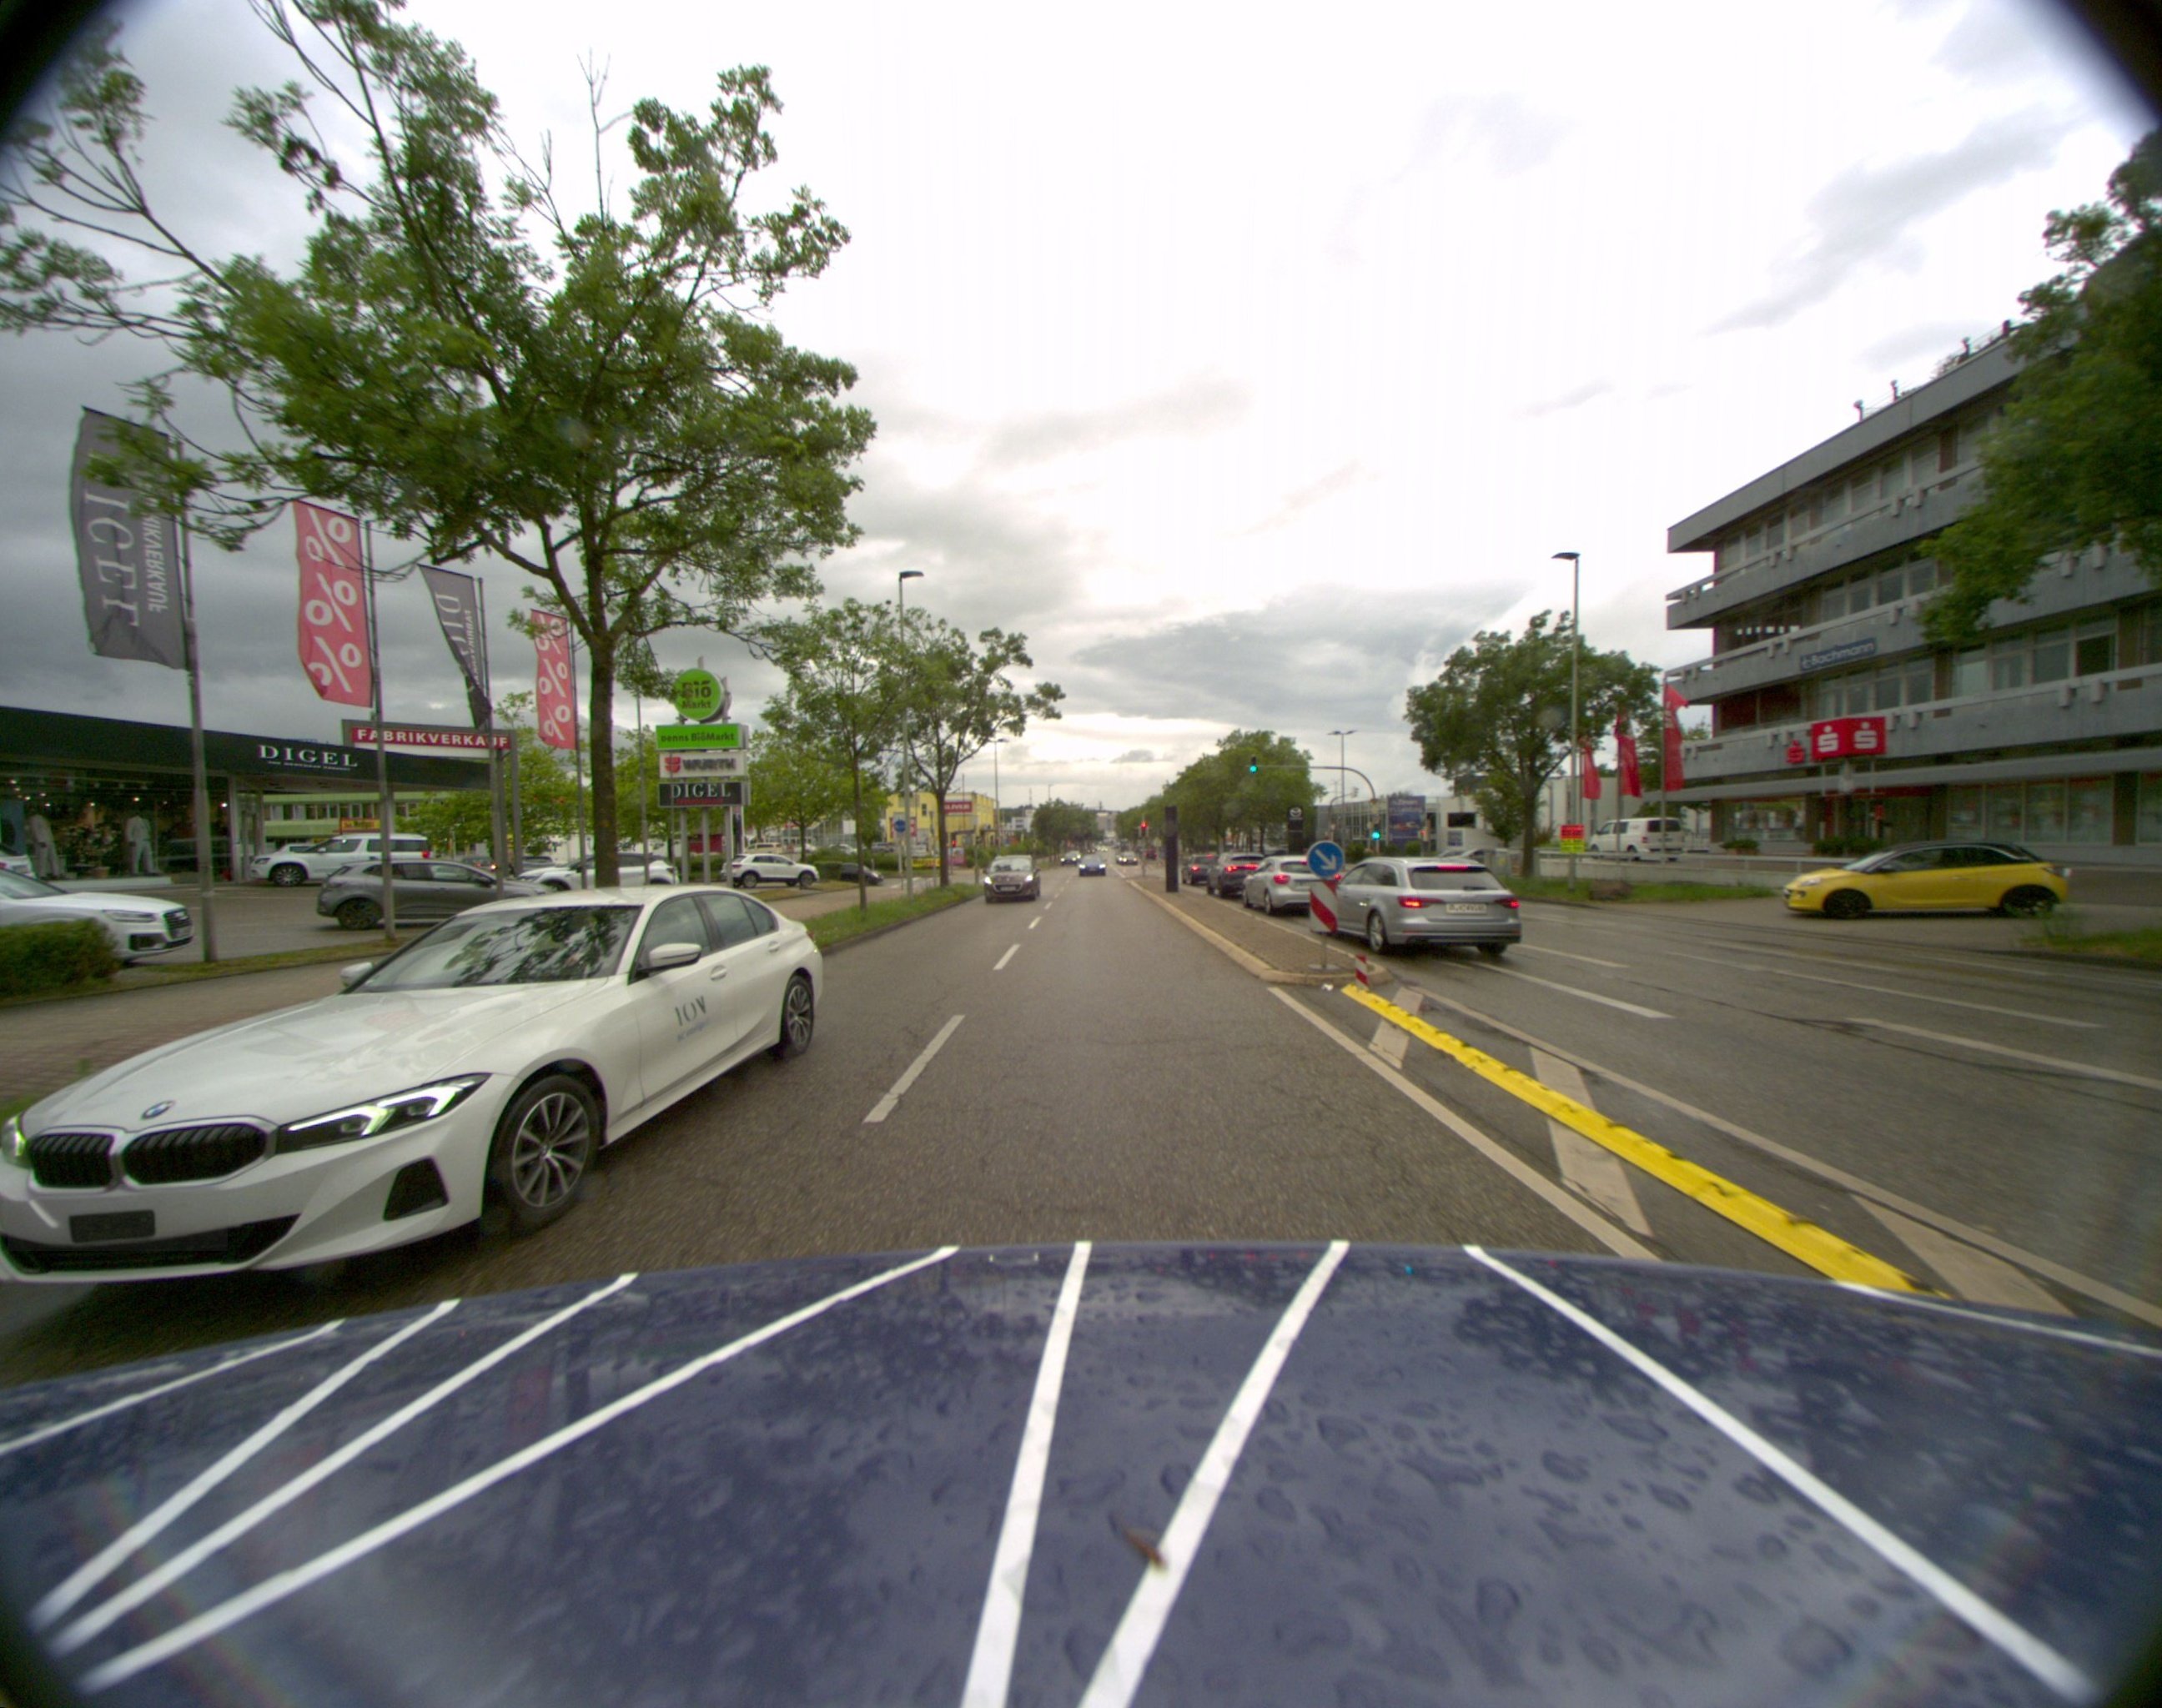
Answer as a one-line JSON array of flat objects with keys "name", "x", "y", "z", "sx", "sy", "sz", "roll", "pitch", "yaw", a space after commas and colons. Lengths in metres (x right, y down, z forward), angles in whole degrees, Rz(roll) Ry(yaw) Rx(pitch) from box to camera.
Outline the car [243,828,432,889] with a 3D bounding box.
[{"name": "car", "x": -23.210, "y": 0.150, "z": 23.929, "sx": 4.125, "sy": 1.736, "sz": 1.794, "roll": 1, "pitch": 2, "yaw": -42}]

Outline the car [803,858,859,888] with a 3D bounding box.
[{"name": "car", "x": -13.852, "y": 1.035, "z": 41.998, "sx": 1.747, "sy": 1.570, "sz": 3.864, "roll": 0, "pitch": -1, "yaw": -38}]

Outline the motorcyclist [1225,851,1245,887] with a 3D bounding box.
[{"name": "motorcyclist", "x": 6.465, "y": 0.620, "z": 31.911, "sx": 0.693, "sy": 1.519, "sz": 0.727, "roll": 0, "pitch": 1, "yaw": 1}]

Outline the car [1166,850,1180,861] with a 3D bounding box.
[{"name": "car", "x": 13.979, "y": 0.243, "z": 115.393, "sx": 1.753, "sy": 1.566, "sz": 4.000, "roll": 0, "pitch": 0, "yaw": 1}]

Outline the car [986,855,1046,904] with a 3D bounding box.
[{"name": "car", "x": -2.314, "y": 0.863, "z": 28.019, "sx": 1.799, "sy": 1.572, "sz": 4.218, "roll": -3, "pitch": 0, "yaw": 0}]

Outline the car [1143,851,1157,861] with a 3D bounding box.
[{"name": "car", "x": 10.061, "y": 0.249, "z": 110.985, "sx": 1.753, "sy": 1.501, "sz": 4.000, "roll": 0, "pitch": 0, "yaw": 1}]

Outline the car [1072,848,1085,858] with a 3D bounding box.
[{"name": "car", "x": -0.300, "y": -0.137, "z": 110.134, "sx": 1.753, "sy": 1.501, "sz": 4.000, "roll": 0, "pitch": 0, "yaw": 1}]

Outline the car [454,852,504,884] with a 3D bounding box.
[{"name": "car", "x": -33.342, "y": 0.729, "z": 42.173, "sx": 1.804, "sy": 1.502, "sz": 4.103, "roll": 2, "pitch": 2, "yaw": -34}]

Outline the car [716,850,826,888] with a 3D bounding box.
[{"name": "car", "x": -14.199, "y": 0.689, "z": 34.924, "sx": 4.324, "sy": 1.570, "sz": 1.738, "roll": 2, "pitch": 1, "yaw": -44}]

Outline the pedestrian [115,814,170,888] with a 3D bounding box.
[{"name": "pedestrian", "x": -26.383, "y": -0.088, "z": 21.369, "sx": 0.613, "sy": 2.002, "sz": 0.657, "roll": -3, "pitch": 1, "yaw": 2}]

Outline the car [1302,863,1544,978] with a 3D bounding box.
[{"name": "car", "x": 5.041, "y": 0.877, "z": 12.027, "sx": 1.788, "sy": 1.398, "sz": 4.616, "roll": 0, "pitch": 0, "yaw": 1}]

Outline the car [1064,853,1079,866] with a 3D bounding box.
[{"name": "car", "x": -1.146, "y": 0.658, "z": 91.760, "sx": 1.753, "sy": 1.501, "sz": 4.000, "roll": 0, "pitch": 0, "yaw": 1}]

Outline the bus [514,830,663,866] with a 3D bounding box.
[{"name": "bus", "x": -52.301, "y": -0.574, "z": 81.949, "sx": 4.101, "sy": 3.493, "sz": 17.335, "roll": 0, "pitch": 0, "yaw": 2}]

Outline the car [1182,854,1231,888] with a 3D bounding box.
[{"name": "car", "x": 5.858, "y": 0.770, "z": 35.908, "sx": 1.753, "sy": 1.501, "sz": 4.000, "roll": 0, "pitch": 0, "yaw": 1}]

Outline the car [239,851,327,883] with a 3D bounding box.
[{"name": "car", "x": -52.005, "y": 0.830, "z": 49.542, "sx": 3.995, "sy": 1.989, "sz": 1.800, "roll": 0, "pitch": 1, "yaw": 4}]

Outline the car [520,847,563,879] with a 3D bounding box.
[{"name": "car", "x": -29.858, "y": 0.481, "z": 42.149, "sx": 1.804, "sy": 1.502, "sz": 4.103, "roll": 2, "pitch": 2, "yaw": -34}]

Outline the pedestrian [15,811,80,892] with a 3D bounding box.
[{"name": "pedestrian", "x": -26.446, "y": -0.067, "z": 19.458, "sx": 0.613, "sy": 2.002, "sz": 0.657, "roll": -3, "pitch": 1, "yaw": 2}]

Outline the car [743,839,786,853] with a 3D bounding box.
[{"name": "car", "x": -43.642, "y": -1.102, "z": 104.928, "sx": 5.092, "sy": 1.787, "sz": 2.035, "roll": 0, "pitch": 0, "yaw": 1}]

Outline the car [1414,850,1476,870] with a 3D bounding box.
[{"name": "car", "x": 31.669, "y": 0.531, "z": 66.180, "sx": 4.518, "sy": 1.647, "sz": 1.955, "roll": 0, "pitch": 0, "yaw": 6}]

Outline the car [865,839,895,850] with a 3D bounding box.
[{"name": "car", "x": -30.287, "y": -1.408, "z": 114.356, "sx": 3.996, "sy": 1.501, "sz": 1.800, "roll": 0, "pitch": 0, "yaw": 2}]

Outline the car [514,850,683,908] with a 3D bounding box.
[{"name": "car", "x": -14.551, "y": 0.748, "z": 23.006, "sx": 4.186, "sy": 1.570, "sz": 1.738, "roll": 2, "pitch": 1, "yaw": -37}]

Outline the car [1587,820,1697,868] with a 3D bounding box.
[{"name": "car", "x": 26.526, "y": -0.474, "z": 36.179, "sx": 1.997, "sy": 2.002, "sz": 4.887, "roll": -3, "pitch": 1, "yaw": 6}]

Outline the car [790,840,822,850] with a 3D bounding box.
[{"name": "car", "x": -42.229, "y": -1.381, "z": 116.806, "sx": 4.220, "sy": 1.572, "sz": 1.824, "roll": 0, "pitch": 0, "yaw": 2}]

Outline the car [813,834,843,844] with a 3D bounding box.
[{"name": "car", "x": -41.088, "y": -2.354, "z": 123.455, "sx": 4.220, "sy": 1.572, "sz": 1.824, "roll": 0, "pitch": 0, "yaw": 2}]

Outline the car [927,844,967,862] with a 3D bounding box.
[{"name": "car", "x": -13.905, "y": -0.093, "z": 78.851, "sx": 4.000, "sy": 1.801, "sz": 1.766, "roll": 0, "pitch": 0, "yaw": -10}]

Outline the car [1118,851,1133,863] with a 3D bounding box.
[{"name": "car", "x": 5.531, "y": 0.382, "z": 94.189, "sx": 1.753, "sy": 1.501, "sz": 4.000, "roll": 0, "pitch": 0, "yaw": 1}]

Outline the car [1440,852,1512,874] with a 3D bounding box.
[{"name": "car", "x": 30.335, "y": 0.670, "z": 58.457, "sx": 4.518, "sy": 1.647, "sz": 1.955, "roll": 0, "pitch": 0, "yaw": 6}]

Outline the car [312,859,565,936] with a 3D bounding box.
[{"name": "car", "x": -13.852, "y": 0.889, "z": 16.610, "sx": 4.028, "sy": 1.429, "sz": 1.738, "roll": 2, "pitch": 1, "yaw": -41}]

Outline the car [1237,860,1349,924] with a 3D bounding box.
[{"name": "car", "x": 5.176, "y": 0.875, "z": 19.115, "sx": 1.745, "sy": 1.398, "sz": 4.000, "roll": 0, "pitch": 0, "yaw": 1}]

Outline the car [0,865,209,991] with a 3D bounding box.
[{"name": "car", "x": -14.317, "y": 0.894, "z": 9.482, "sx": 4.191, "sy": 1.464, "sz": 1.785, "roll": 2, "pitch": 1, "yaw": -35}]

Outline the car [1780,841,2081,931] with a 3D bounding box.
[{"name": "car", "x": 16.548, "y": 0.648, "z": 15.109, "sx": 3.702, "sy": 1.500, "sz": 1.624, "roll": -4, "pitch": 2, "yaw": 37}]

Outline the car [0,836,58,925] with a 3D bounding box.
[{"name": "car", "x": -23.183, "y": 0.456, "z": 14.207, "sx": 4.507, "sy": 1.672, "sz": 1.794, "roll": 2, "pitch": 2, "yaw": -36}]

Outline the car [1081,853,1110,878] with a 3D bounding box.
[{"name": "car", "x": 0.952, "y": 0.758, "z": 52.462, "sx": 1.799, "sy": 1.572, "sz": 4.218, "roll": -3, "pitch": 0, "yaw": 0}]

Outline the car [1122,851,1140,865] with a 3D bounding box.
[{"name": "car", "x": 5.366, "y": 0.410, "z": 82.147, "sx": 1.753, "sy": 1.501, "sz": 4.000, "roll": 0, "pitch": 0, "yaw": 1}]

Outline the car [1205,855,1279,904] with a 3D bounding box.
[{"name": "car", "x": 5.383, "y": 0.808, "z": 25.903, "sx": 1.753, "sy": 1.516, "sz": 4.000, "roll": 0, "pitch": 0, "yaw": 1}]

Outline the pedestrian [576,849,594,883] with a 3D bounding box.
[{"name": "pedestrian", "x": -24.819, "y": 0.581, "z": 38.010, "sx": 0.471, "sy": 1.671, "sz": 0.569, "roll": -1, "pitch": 0, "yaw": 14}]

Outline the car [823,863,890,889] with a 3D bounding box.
[{"name": "car", "x": -15.096, "y": 1.442, "z": 51.247, "sx": 3.998, "sy": 1.502, "sz": 1.742, "roll": -2, "pitch": 3, "yaw": -4}]

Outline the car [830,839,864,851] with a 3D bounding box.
[{"name": "car", "x": -31.113, "y": -1.220, "z": 101.190, "sx": 3.996, "sy": 1.501, "sz": 1.800, "roll": 0, "pitch": 0, "yaw": 2}]

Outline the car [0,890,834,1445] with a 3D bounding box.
[{"name": "car", "x": -3.199, "y": 1.083, "z": 4.579, "sx": 1.808, "sy": 1.432, "sz": 4.542, "roll": -3, "pitch": 0, "yaw": 1}]
